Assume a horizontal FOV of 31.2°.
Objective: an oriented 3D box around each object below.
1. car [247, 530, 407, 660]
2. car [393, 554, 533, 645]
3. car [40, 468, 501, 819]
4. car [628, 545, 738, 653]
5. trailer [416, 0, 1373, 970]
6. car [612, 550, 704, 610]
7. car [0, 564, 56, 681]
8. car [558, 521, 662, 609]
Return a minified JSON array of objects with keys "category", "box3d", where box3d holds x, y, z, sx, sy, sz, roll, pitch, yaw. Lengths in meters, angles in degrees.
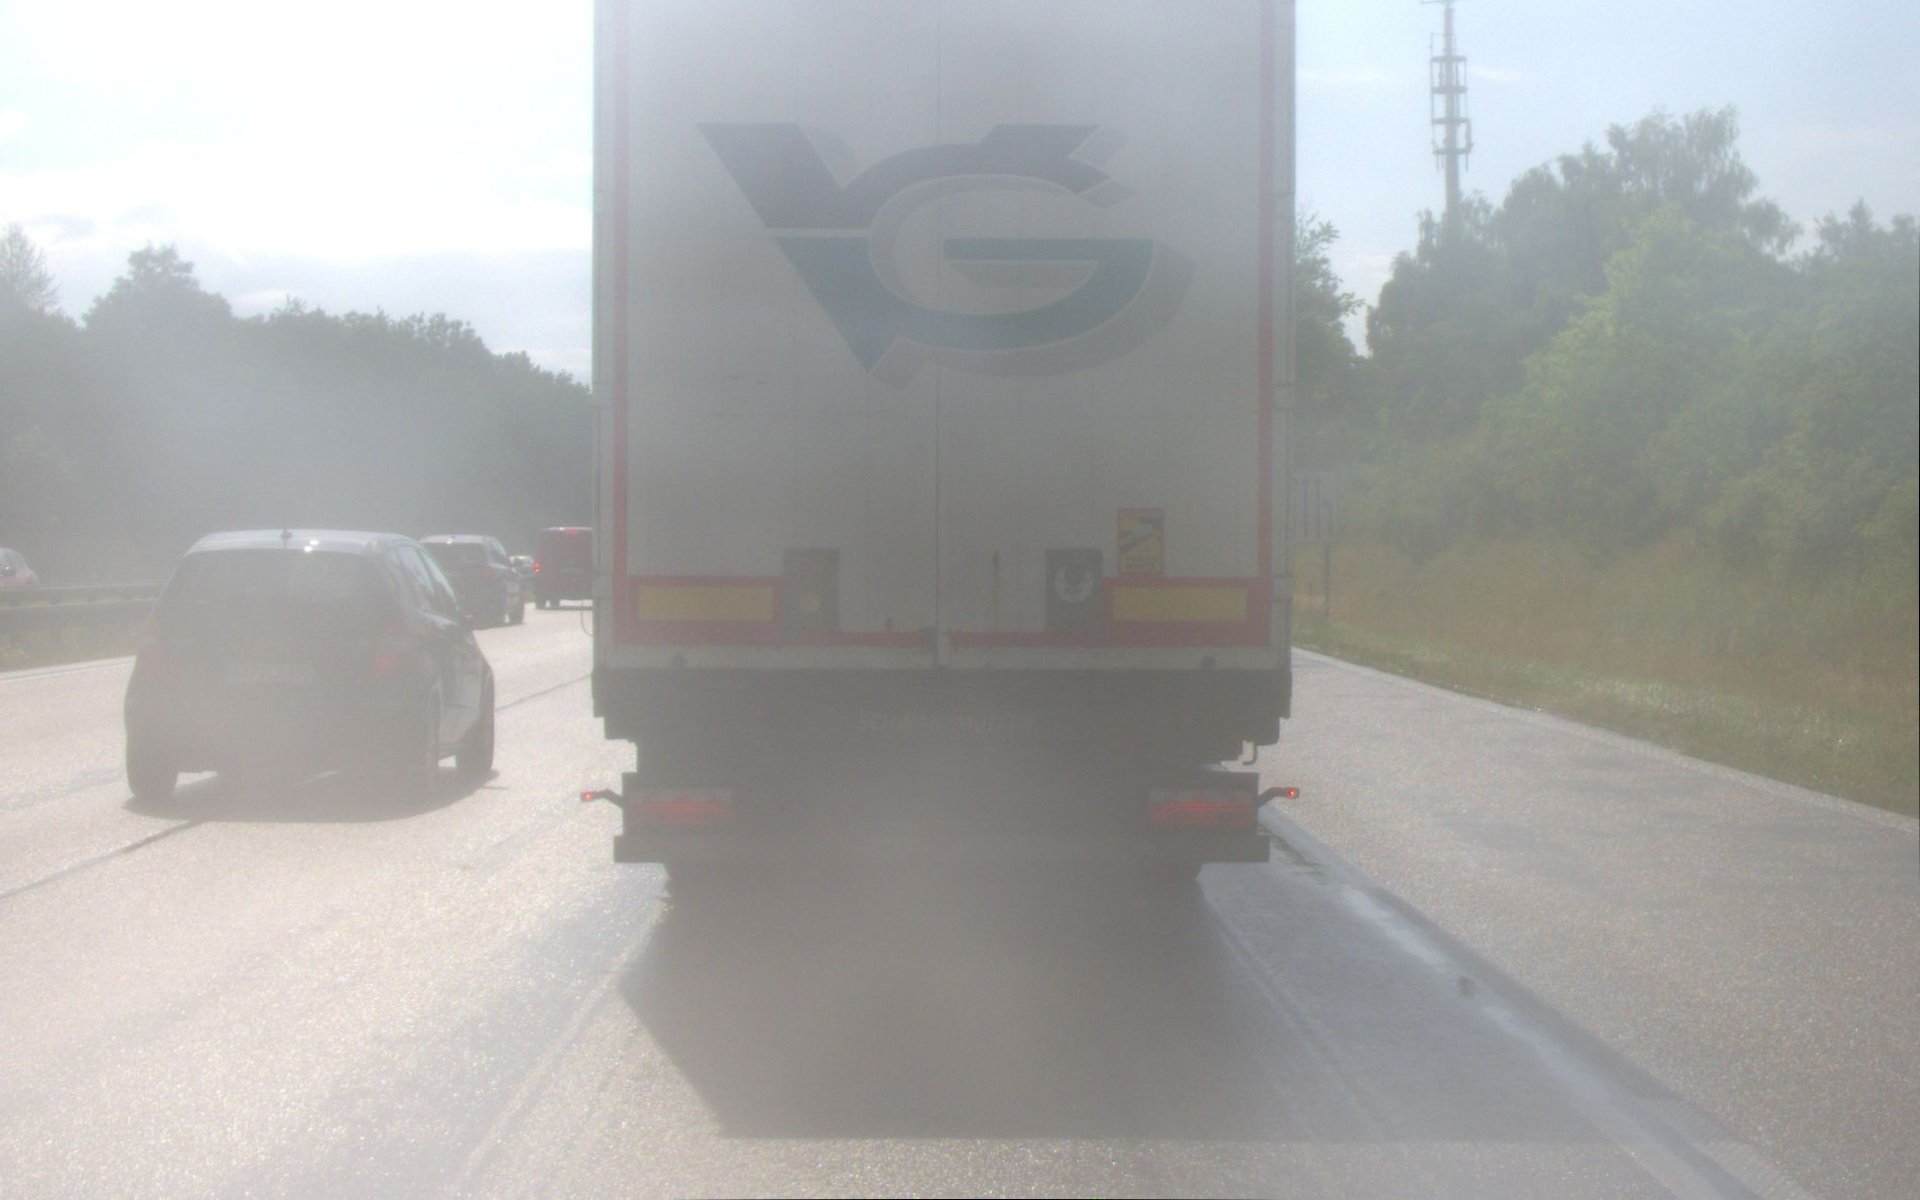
[{"category":"car","box3d":[-9.156,-0.086,49.968,1.692,1.798,3.976,1,0,-2]},{"category":"car","box3d":[-9.233,-0.034,64.212,1.909,1.631,4.617,0,0,1]},{"category":"car","box3d":[-4.194,0.225,21.741,2.274,1.948,4.822,1,0,-4]},{"category":"car","box3d":[-4.806,-0.041,59.981,1.692,1.798,3.976,1,0,-2]},{"category":"trailer","box3d":[-0.349,-0.793,19.100,3.283,3.885,14.129,1,1,-1]},{"category":"car","box3d":[-8.102,-0.549,92.705,1.993,1.559,4.756,1,0,1]},{"category":"car","box3d":[-17.827,0.374,61.930,1.830,2.038,4.779,1,0,-1]},{"category":"car","box3d":[-8.424,-0.842,83.087,1.978,2.047,4.756,1,0,1]}]
